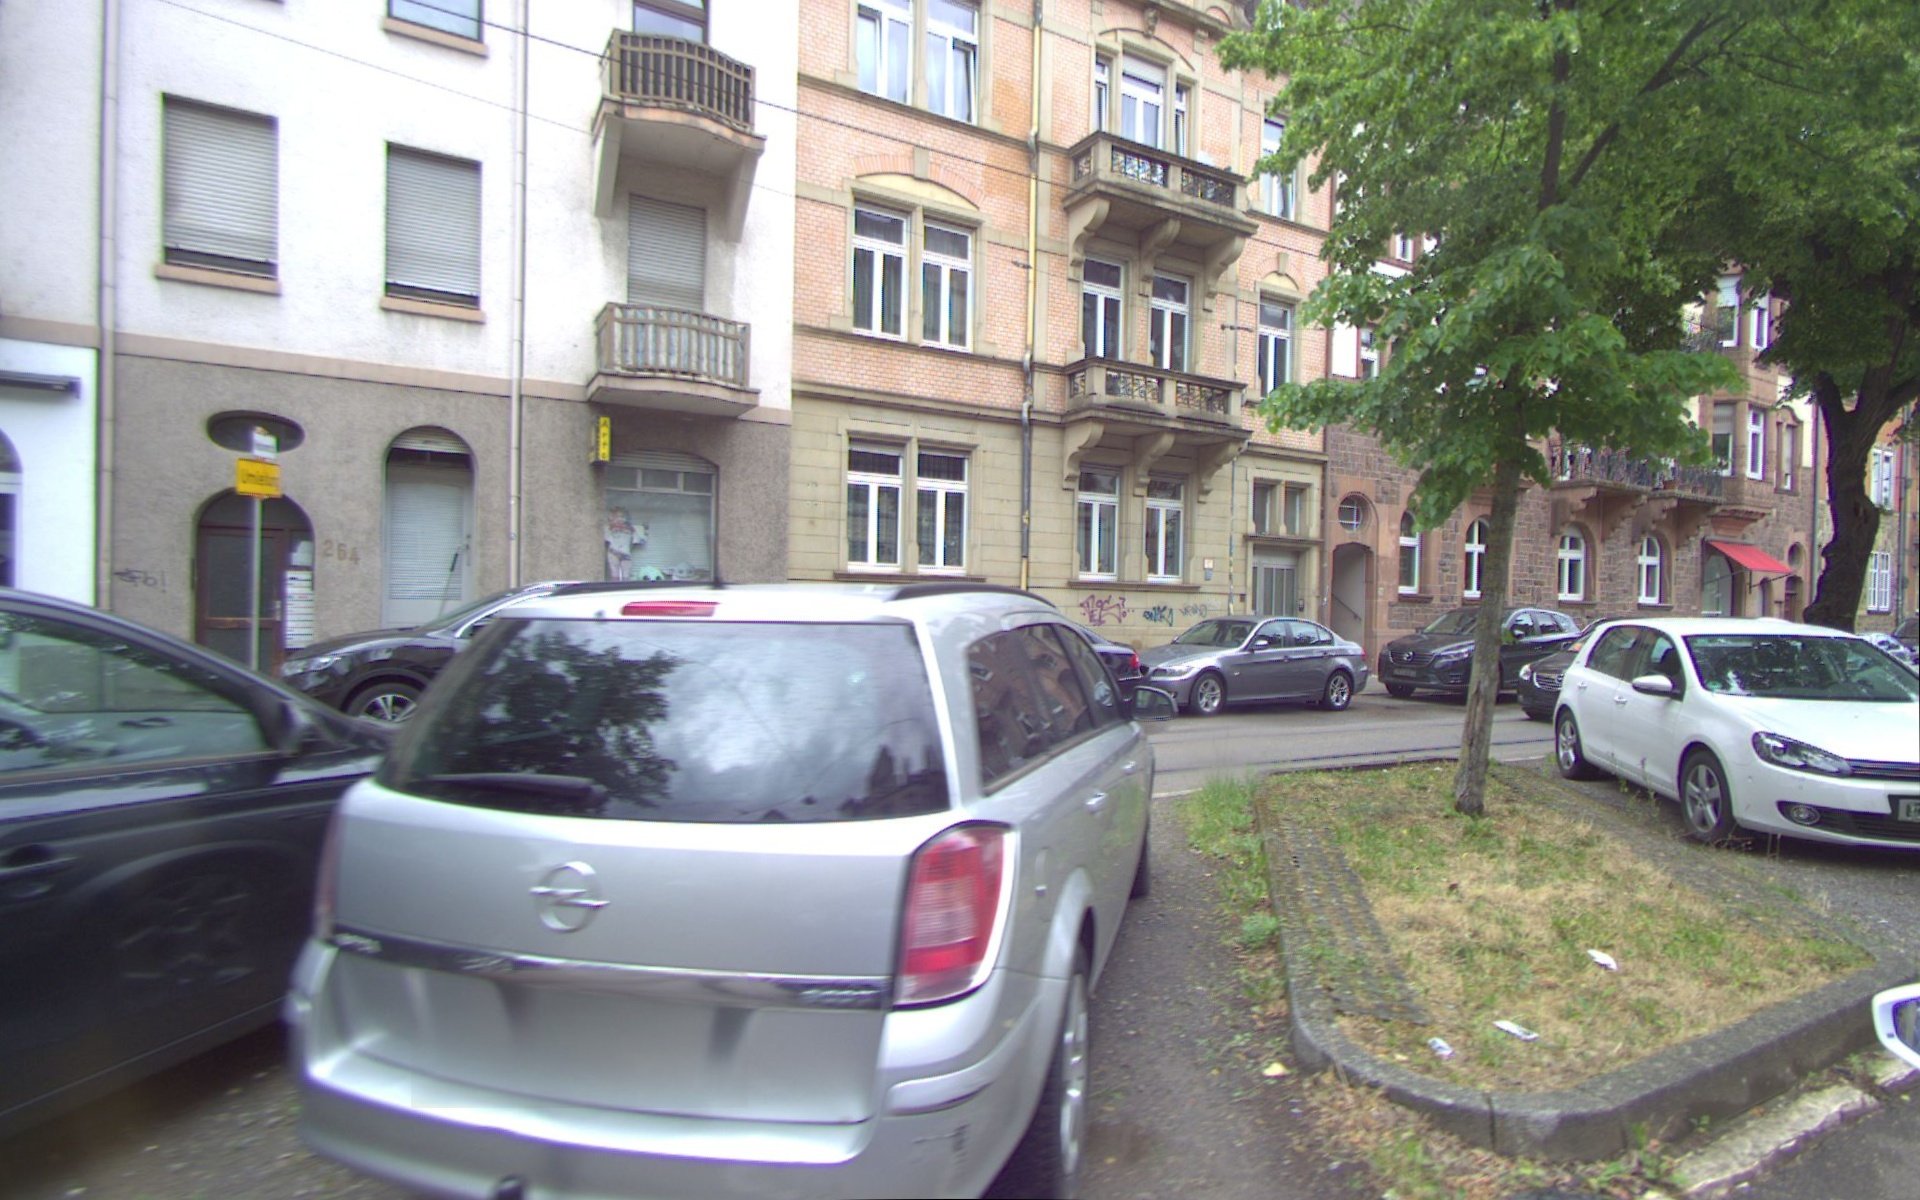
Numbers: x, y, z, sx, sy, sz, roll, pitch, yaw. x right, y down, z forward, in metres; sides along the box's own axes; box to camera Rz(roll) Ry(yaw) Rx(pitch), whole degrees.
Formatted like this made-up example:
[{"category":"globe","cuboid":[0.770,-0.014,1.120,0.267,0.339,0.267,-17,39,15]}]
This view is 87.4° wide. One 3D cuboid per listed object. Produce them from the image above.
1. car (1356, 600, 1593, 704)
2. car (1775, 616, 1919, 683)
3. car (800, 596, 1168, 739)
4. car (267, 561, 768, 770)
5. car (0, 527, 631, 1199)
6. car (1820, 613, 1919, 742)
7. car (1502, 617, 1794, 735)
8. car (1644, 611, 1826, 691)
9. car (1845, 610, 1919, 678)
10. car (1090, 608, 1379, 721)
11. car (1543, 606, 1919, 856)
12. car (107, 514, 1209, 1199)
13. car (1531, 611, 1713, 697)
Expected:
[{"category":"car","cuboid":[9.275,0.898,18.021,4.270,1.650,1.760,2,0,-31]},{"category":"car","cuboid":[23.076,1.254,25.918,4.501,1.562,1.732,2,0,-31]},{"category":"car","cuboid":[0.361,0.781,12.630,4.336,1.509,1.796,2,0,-31]},{"category":"car","cuboid":[-4.261,0.584,10.051,4.224,1.702,1.796,2,0,-31]},{"category":"car","cuboid":[-2.766,0.582,2.518,1.740,1.505,4.001,1,0,16]},{"category":"car","cuboid":[12.166,0.933,11.262,1.995,1.510,4.544,2,0,14]},{"category":"car","cuboid":[10.246,1.050,14.871,4.598,1.472,1.796,2,0,-31]},{"category":"car","cuboid":[17.743,1.139,22.949,4.501,1.648,1.732,2,0,-31]},{"category":"car","cuboid":[27.604,1.262,28.838,5.058,1.805,1.805,2,0,-31]},{"category":"car","cuboid":[4.187,0.918,15.150,4.181,1.457,1.796,2,0,-31]},{"category":"car","cuboid":[6.042,0.762,7.539,1.826,1.329,4.131,2,1,15]},{"category":"car","cuboid":[-0.104,0.633,3.851,1.826,1.513,4.566,2,0,16]},{"category":"car","cuboid":[13.597,1.077,20.590,3.679,1.580,1.654,2,0,-31]}]
